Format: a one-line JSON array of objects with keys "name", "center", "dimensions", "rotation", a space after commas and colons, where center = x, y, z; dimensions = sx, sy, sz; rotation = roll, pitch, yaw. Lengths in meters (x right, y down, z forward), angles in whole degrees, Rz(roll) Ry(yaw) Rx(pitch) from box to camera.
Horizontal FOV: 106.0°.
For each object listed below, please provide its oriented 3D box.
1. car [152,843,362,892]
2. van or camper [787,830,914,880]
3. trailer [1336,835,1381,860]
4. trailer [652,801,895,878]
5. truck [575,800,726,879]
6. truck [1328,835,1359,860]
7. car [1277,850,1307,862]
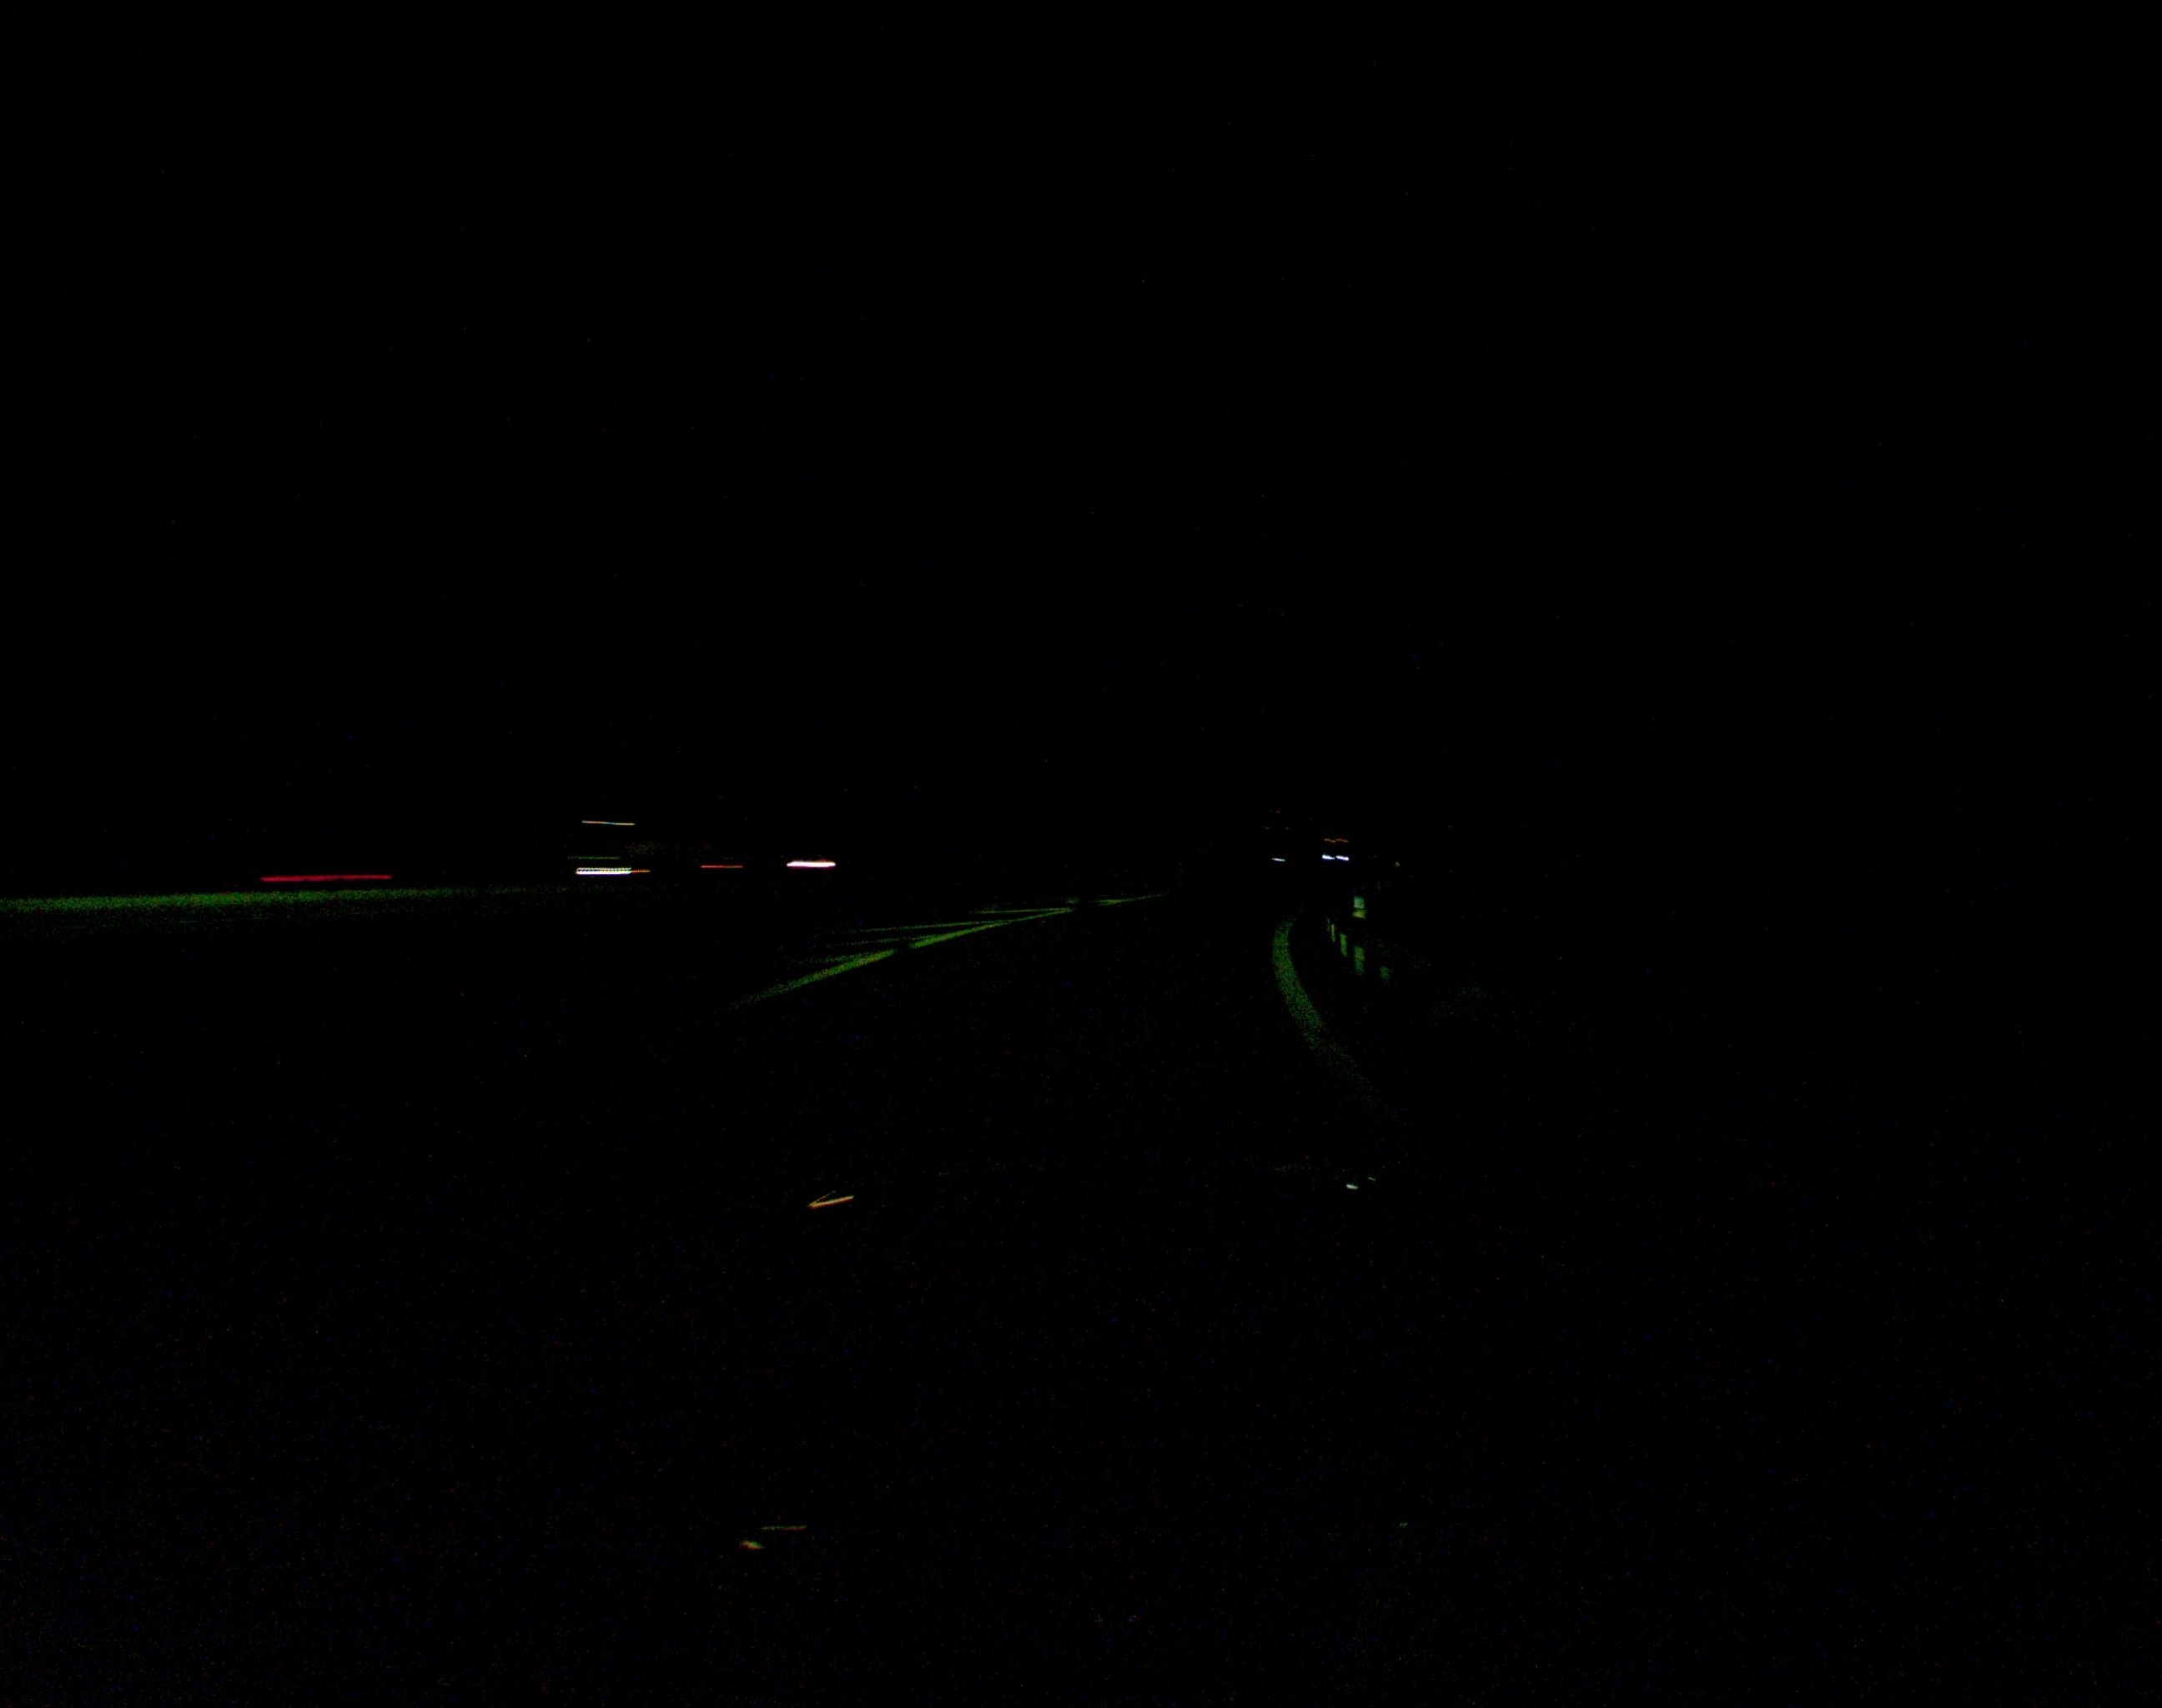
[{"name": "car", "center": [-23.376, 0.341, 23.250], "dimensions": [1.608, 1.277, 4.025], "rotation": [0, 0, 37]}, {"name": "van or camper", "center": [-12.517, 0.062, 44.933], "dimensions": [1.974, 2.550, 7.229], "rotation": [0, 0, 34]}, {"name": "trailer", "center": [44.757, -1.061, 131.026], "dimensions": [2.732, 3.801, 13.847], "rotation": [0, 0, 37]}, {"name": "trailer", "center": [-16.803, -0.698, 46.452], "dimensions": [2.732, 3.816, 13.847], "rotation": [0, 0, 35]}, {"name": "truck", "center": [-21.109, -0.661, 40.256], "dimensions": [2.732, 3.595, 6.001], "rotation": [0, 0, 34]}, {"name": "truck", "center": [40.259, -1.027, 124.995], "dimensions": [2.732, 3.801, 6.001], "rotation": [0, 0, 37]}, {"name": "car", "center": [25.831, 0.208, 99.482], "dimensions": [1.974, 1.424, 4.397], "rotation": [0, 0, 38]}]
